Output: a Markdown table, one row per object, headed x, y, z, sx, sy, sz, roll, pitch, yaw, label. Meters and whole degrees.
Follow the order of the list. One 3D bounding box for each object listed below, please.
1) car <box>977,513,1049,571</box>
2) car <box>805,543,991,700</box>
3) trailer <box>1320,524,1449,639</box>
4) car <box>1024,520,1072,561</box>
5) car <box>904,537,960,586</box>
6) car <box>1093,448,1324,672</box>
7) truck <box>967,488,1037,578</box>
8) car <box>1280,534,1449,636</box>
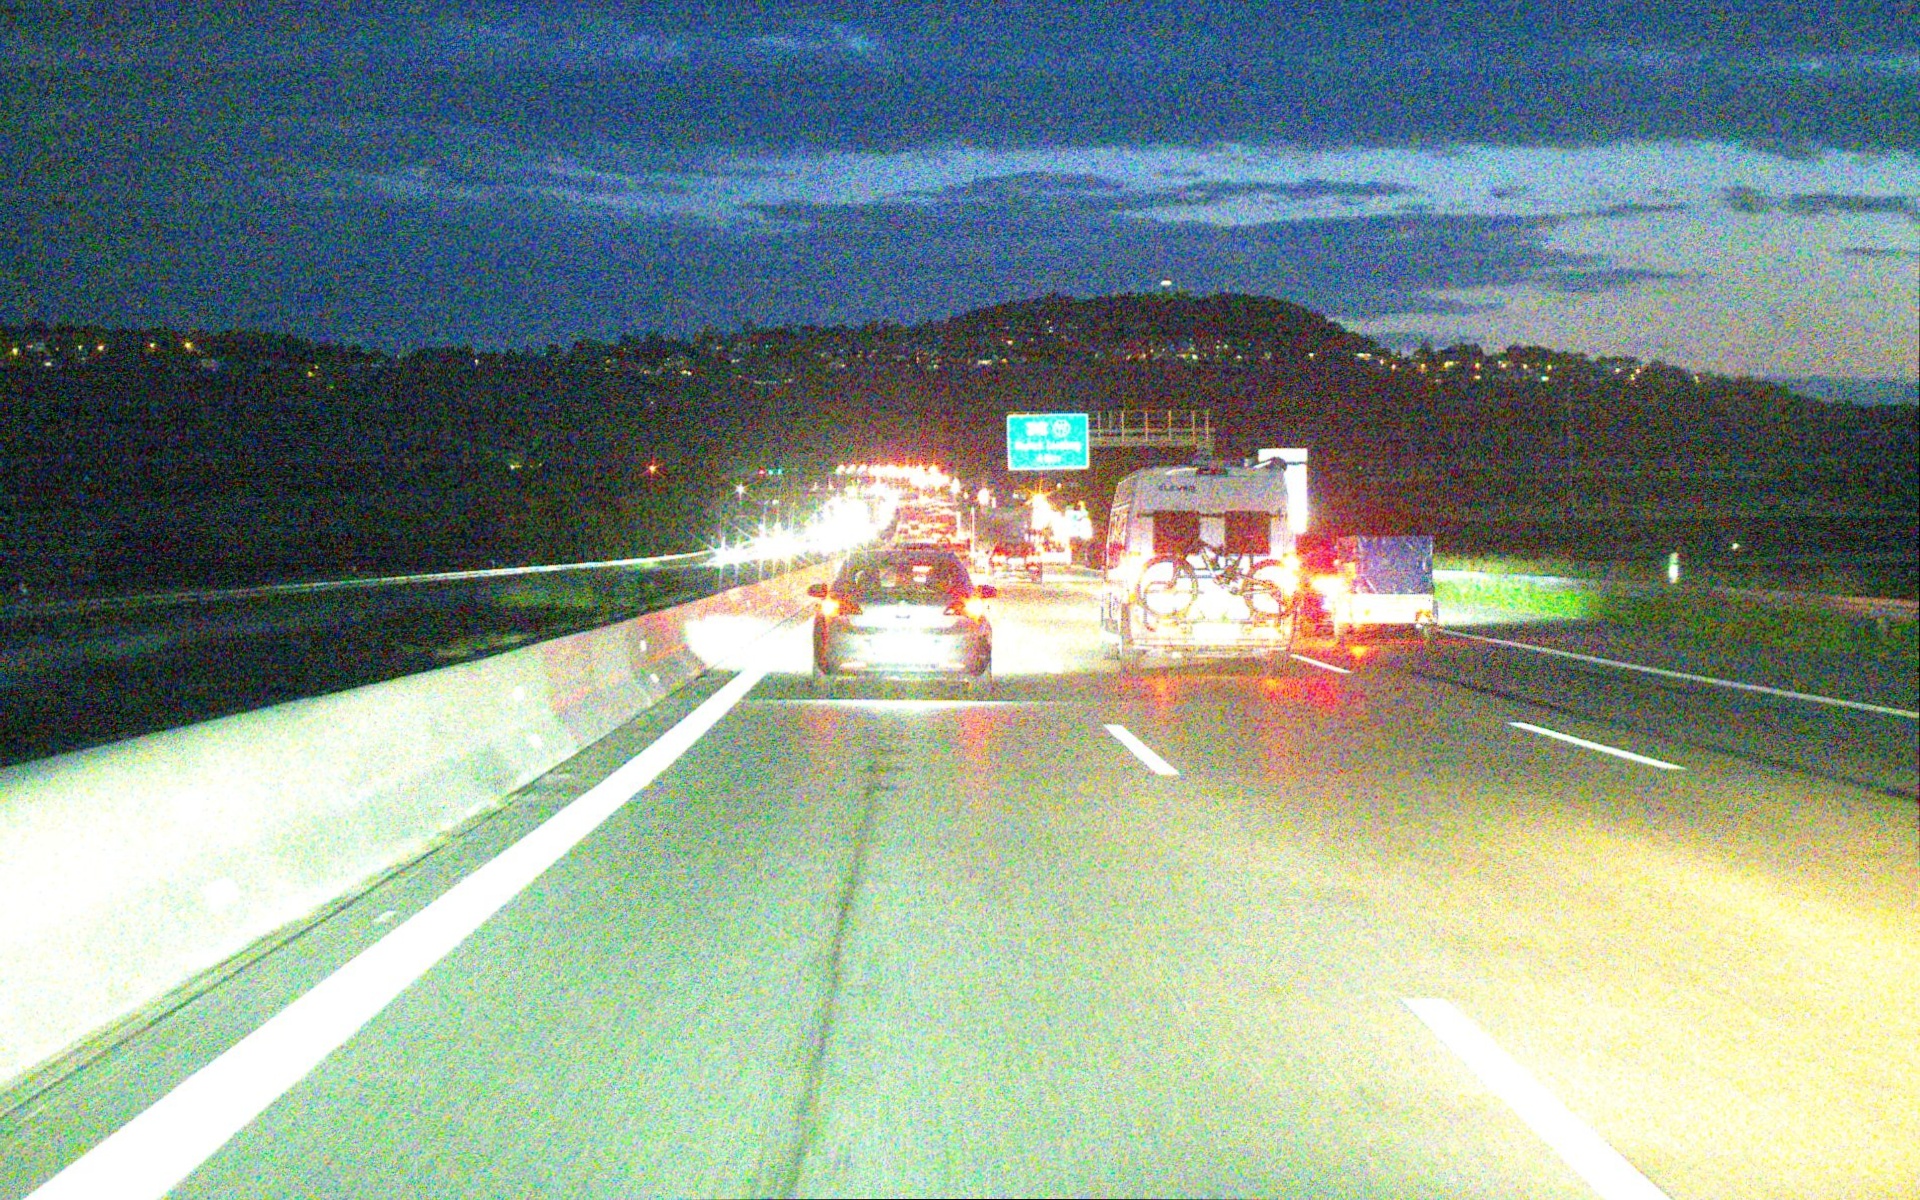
| x | y | z | sx | sy | sz | roll | pitch | yaw | label |
| --- | --- | --- | --- | --- | --- | --- | --- | --- | --- |
| 1.819 | -2.017 | 118.791 | 2.351 | 1.907 | 4.723 | -1 | 1 | 0 | car |
| -0.608 | 0.178 | 35.131 | 1.793 | 1.464 | 3.773 | 0 | 2 | 0 | car |
| 6.453 | -0.303 | 52.416 | 1.566 | 1.687 | 2.821 | -1 | 1 | -1 | trailer |
| 4.659 | -3.149 | 182.087 | 2.351 | 2.068 | 4.723 | -1 | 2 | 0 | car |
| -0.890 | -1.241 | 109.532 | 1.744 | 1.435 | 4.368 | -1 | 2 | 0 | car |
| 2.956 | -0.537 | 42.209 | 2.351 | 2.526 | 5.701 | -1 | 2 | 0 | car |
| 1.880 | -3.055 | 157.094 | 2.781 | 3.942 | 7.994 | -1 | 1 | -2 | truck |
| 6.543 | -0.279 | 56.074 | 2.163 | 1.558 | 4.723 | 0 | 1 | 0 | car |
